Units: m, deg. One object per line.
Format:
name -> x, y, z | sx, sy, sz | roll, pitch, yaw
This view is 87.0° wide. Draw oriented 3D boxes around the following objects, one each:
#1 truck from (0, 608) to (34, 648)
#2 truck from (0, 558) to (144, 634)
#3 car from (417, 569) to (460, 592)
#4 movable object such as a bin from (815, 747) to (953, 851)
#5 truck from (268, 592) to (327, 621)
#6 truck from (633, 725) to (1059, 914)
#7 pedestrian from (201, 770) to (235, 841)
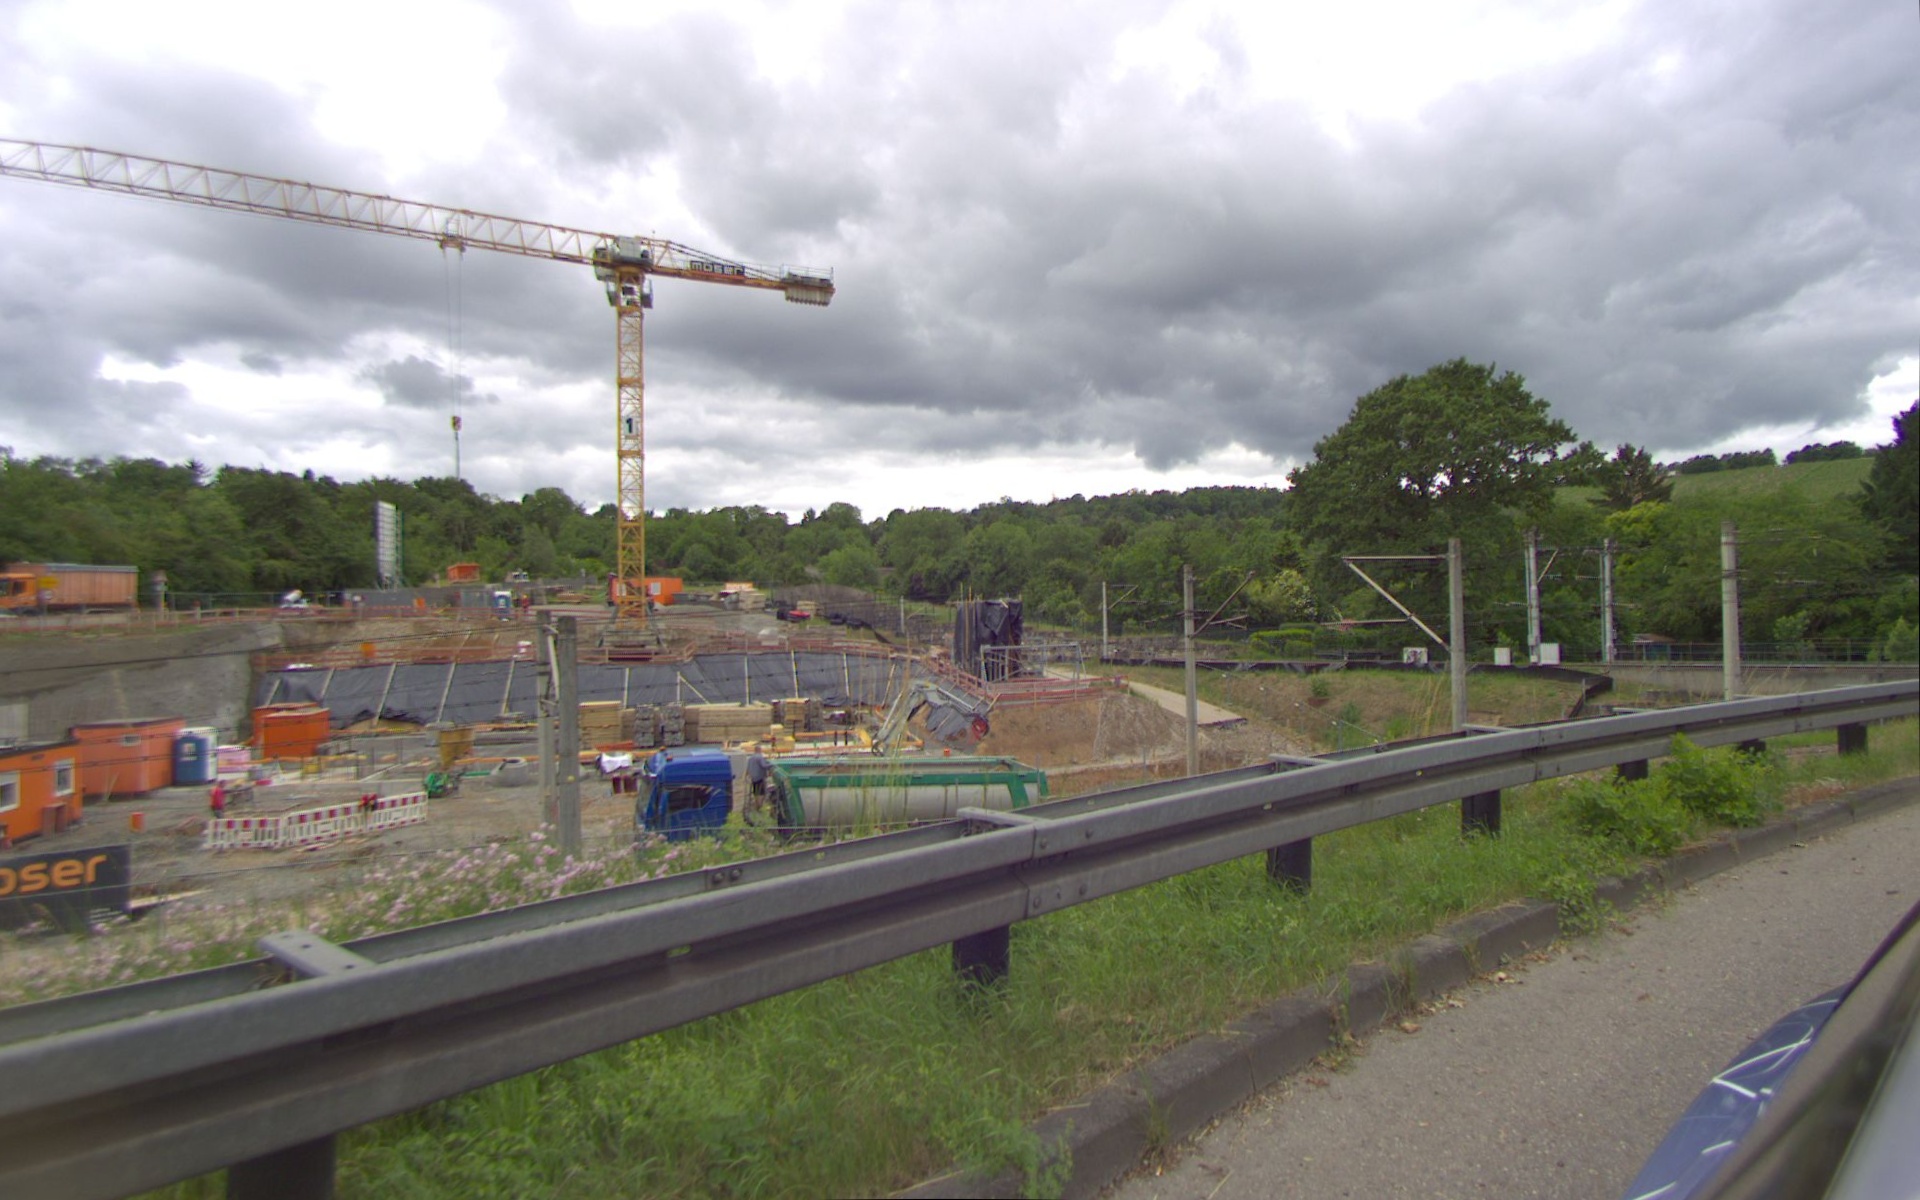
truck -> -51.332, 1.495, 53.522 | 1.708, 2.040, 3.224 | -2, -3, 1
truck -> -55.108, -0.180, 61.690 | 3.060, 4.274, 9.795 | 0, 0, -2
car -> -50.260, -1.822, 97.592 | 1.963, 2.039, 3.998 | -2, -1, 1
movable object such as a bin -> -2.477, 6.386, 32.836 | 4.201, 2.785, 3.050 | 1, -1, -5
truck -> -52.058, 0.551, 79.596 | 1.962, 2.040, 3.997 | -2, -3, 1
truck -> -2.955, 5.747, 28.073 | 11.376, 3.944, 2.851 | 1, -2, -23
pedestrian -> -23.397, 6.460, 31.926 | 0.689, 2.040, 0.804 | -2, -5, -21
